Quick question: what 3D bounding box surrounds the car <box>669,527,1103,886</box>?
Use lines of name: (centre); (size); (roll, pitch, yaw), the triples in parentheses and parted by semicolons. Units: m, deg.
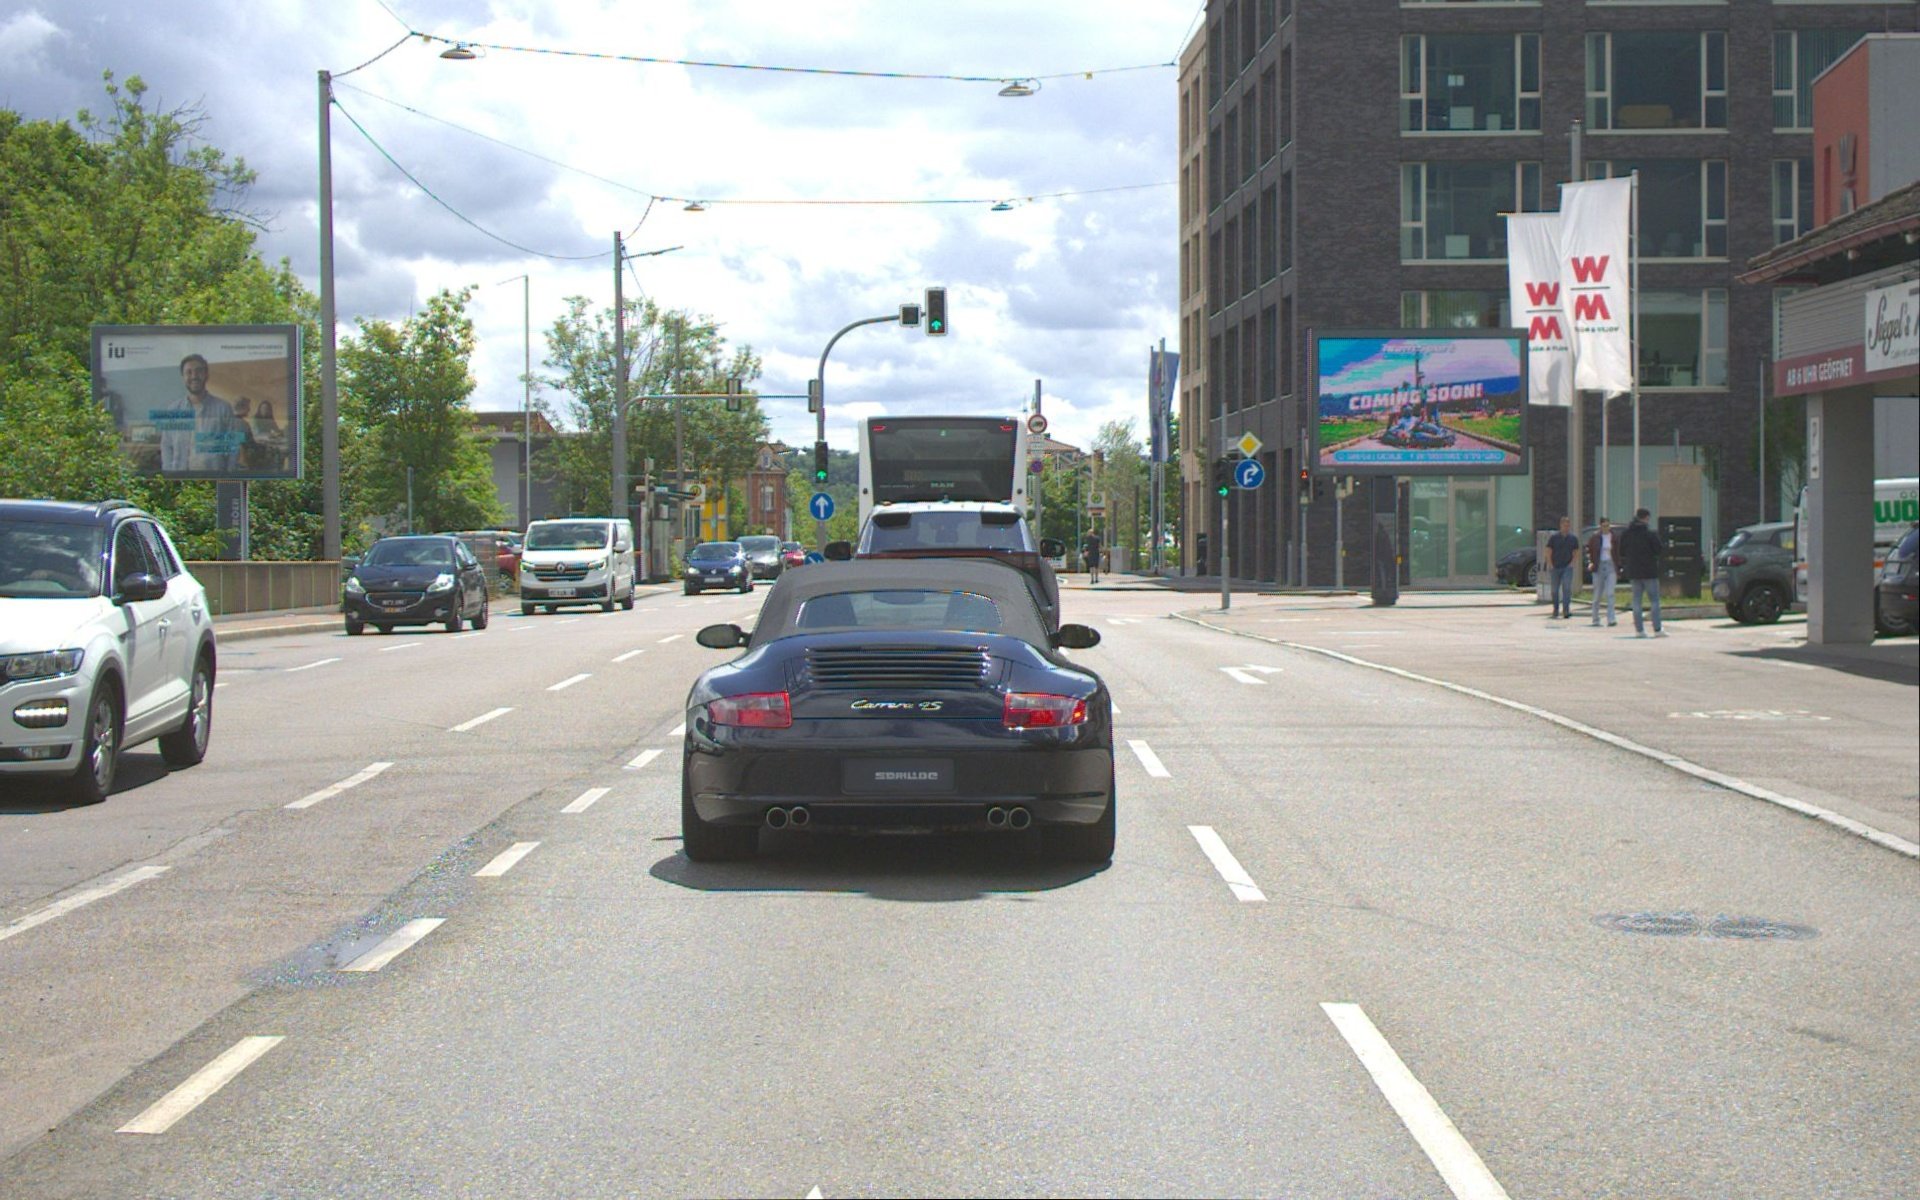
car: (-0.319, 0.387, 15.862); (1.720, 1.270, 4.089); (1, 3, -1)

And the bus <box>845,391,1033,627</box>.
bus: (-0.259, -1.711, 56.828); (2.689, 3.244, 12.060); (2, 4, 0)

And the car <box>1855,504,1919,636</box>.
car: (12.910, -0.429, 40.324); (4.300, 1.507, 1.846); (-2, 0, 1)

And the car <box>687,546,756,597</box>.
car: (-6.708, -0.812, 96.897); (1.662, 1.411, 3.803); (0, 1, 0)

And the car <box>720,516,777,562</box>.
car: (-7.159, -2.066, 116.573); (1.662, 1.542, 3.803); (0, 1, 0)

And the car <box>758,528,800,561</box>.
car: (-7.990, -2.451, 151.829); (1.662, 1.411, 3.803); (0, 1, 0)

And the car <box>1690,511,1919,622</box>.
car: (13.012, -0.518, 51.432); (3.759, 1.436, 1.719); (-3, 1, 1)

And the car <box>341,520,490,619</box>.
car: (-8.158, -0.481, 51.785); (1.628, 1.425, 4.000); (0, 1, 0)

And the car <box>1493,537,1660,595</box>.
car: (15.454, -0.859, 86.248); (3.929, 1.426, 1.474); (0, 1, 0)

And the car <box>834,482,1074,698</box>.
car: (-0.115, -0.150, 29.628); (1.879, 1.588, 4.231); (1, 3, -2)

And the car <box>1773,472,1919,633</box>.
car: (12.630, -0.662, 43.357); (4.231, 1.930, 2.029); (-2, 1, 1)

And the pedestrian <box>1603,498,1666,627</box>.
pedestrian: (8.883, -0.500, 45.271); (0.681, 1.690, 0.597); (1, 1, 25)

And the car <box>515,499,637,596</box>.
car: (-7.910, -1.087, 71.204); (1.901, 1.880, 5.313); (-2, 1, 0)

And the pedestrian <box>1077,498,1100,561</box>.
pedestrian: (4.116, -2.267, 110.168); (0.666, 2.007, 0.769); (0, 1, -2)

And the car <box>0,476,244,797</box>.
car: (-5.231, 0.122, 18.804); (1.810, 1.555, 4.208); (1, 1, -1)

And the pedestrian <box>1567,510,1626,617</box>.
pedestrian: (10.118, -0.583, 54.687); (0.707, 1.690, 0.924); (0, 1, -3)

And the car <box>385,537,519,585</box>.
car: (-13.505, -1.030, 91.328); (3.511, 1.259, 1.390); (0, 1, -9)

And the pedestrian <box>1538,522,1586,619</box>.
pedestrian: (10.360, -0.507, 59.207); (0.670, 1.655, 0.742); (0, 1, -1)
